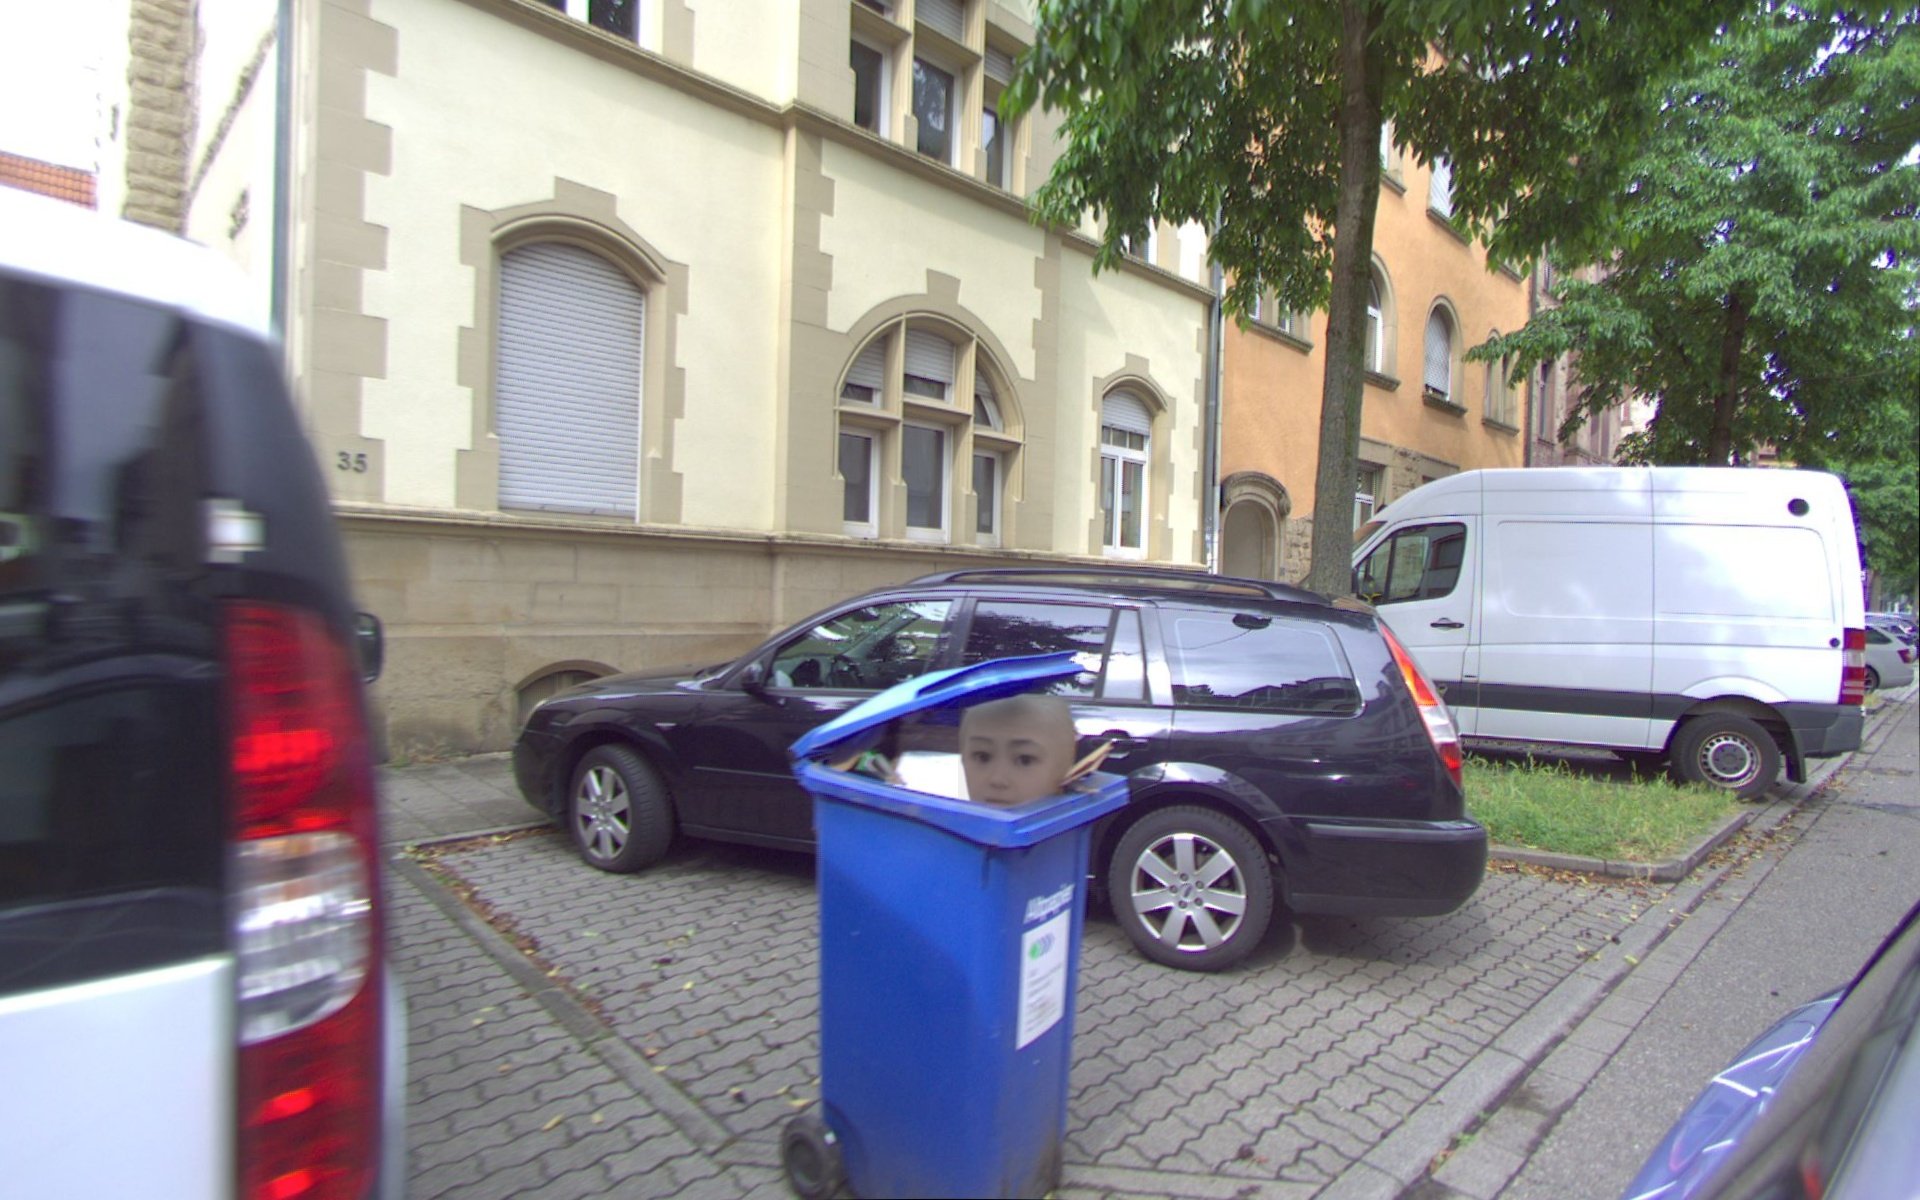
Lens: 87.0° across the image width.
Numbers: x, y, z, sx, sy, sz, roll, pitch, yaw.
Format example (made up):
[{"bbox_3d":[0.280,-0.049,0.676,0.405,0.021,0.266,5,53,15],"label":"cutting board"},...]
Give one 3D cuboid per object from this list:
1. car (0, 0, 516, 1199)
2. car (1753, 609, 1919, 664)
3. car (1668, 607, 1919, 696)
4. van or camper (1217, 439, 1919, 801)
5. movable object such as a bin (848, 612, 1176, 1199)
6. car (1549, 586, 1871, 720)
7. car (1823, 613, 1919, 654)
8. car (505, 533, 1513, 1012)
[{"bbox_3d":[-2.150,0.404,2.052,1.686,1.834,4.003,1,0,-32],"label":"car"},{"bbox_3d":[27.447,1.092,31.538,4.120,1.517,1.817,1,0,34],"label":"car"},{"bbox_3d":[15.688,0.921,18.979,3.555,1.485,1.622,1,0,15],"label":"car"},{"bbox_3d":[4.920,0.088,9.019,4.999,2.623,2.063,1,0,17],"label":"van or camper"},{"bbox_3d":[0.127,0.680,2.352,0.591,1.286,0.454,1,0,-43],"label":"movable object such as a bin"},{"bbox_3d":[11.056,0.711,15.238,3.567,1.756,1.660,1,0,24],"label":"car"},{"bbox_3d":[36.316,1.308,39.647,3.581,1.485,1.611,1,0,34],"label":"car"},{"bbox_3d":[0.132,0.555,4.975,4.220,1.637,1.752,1,0,17],"label":"car"}]
